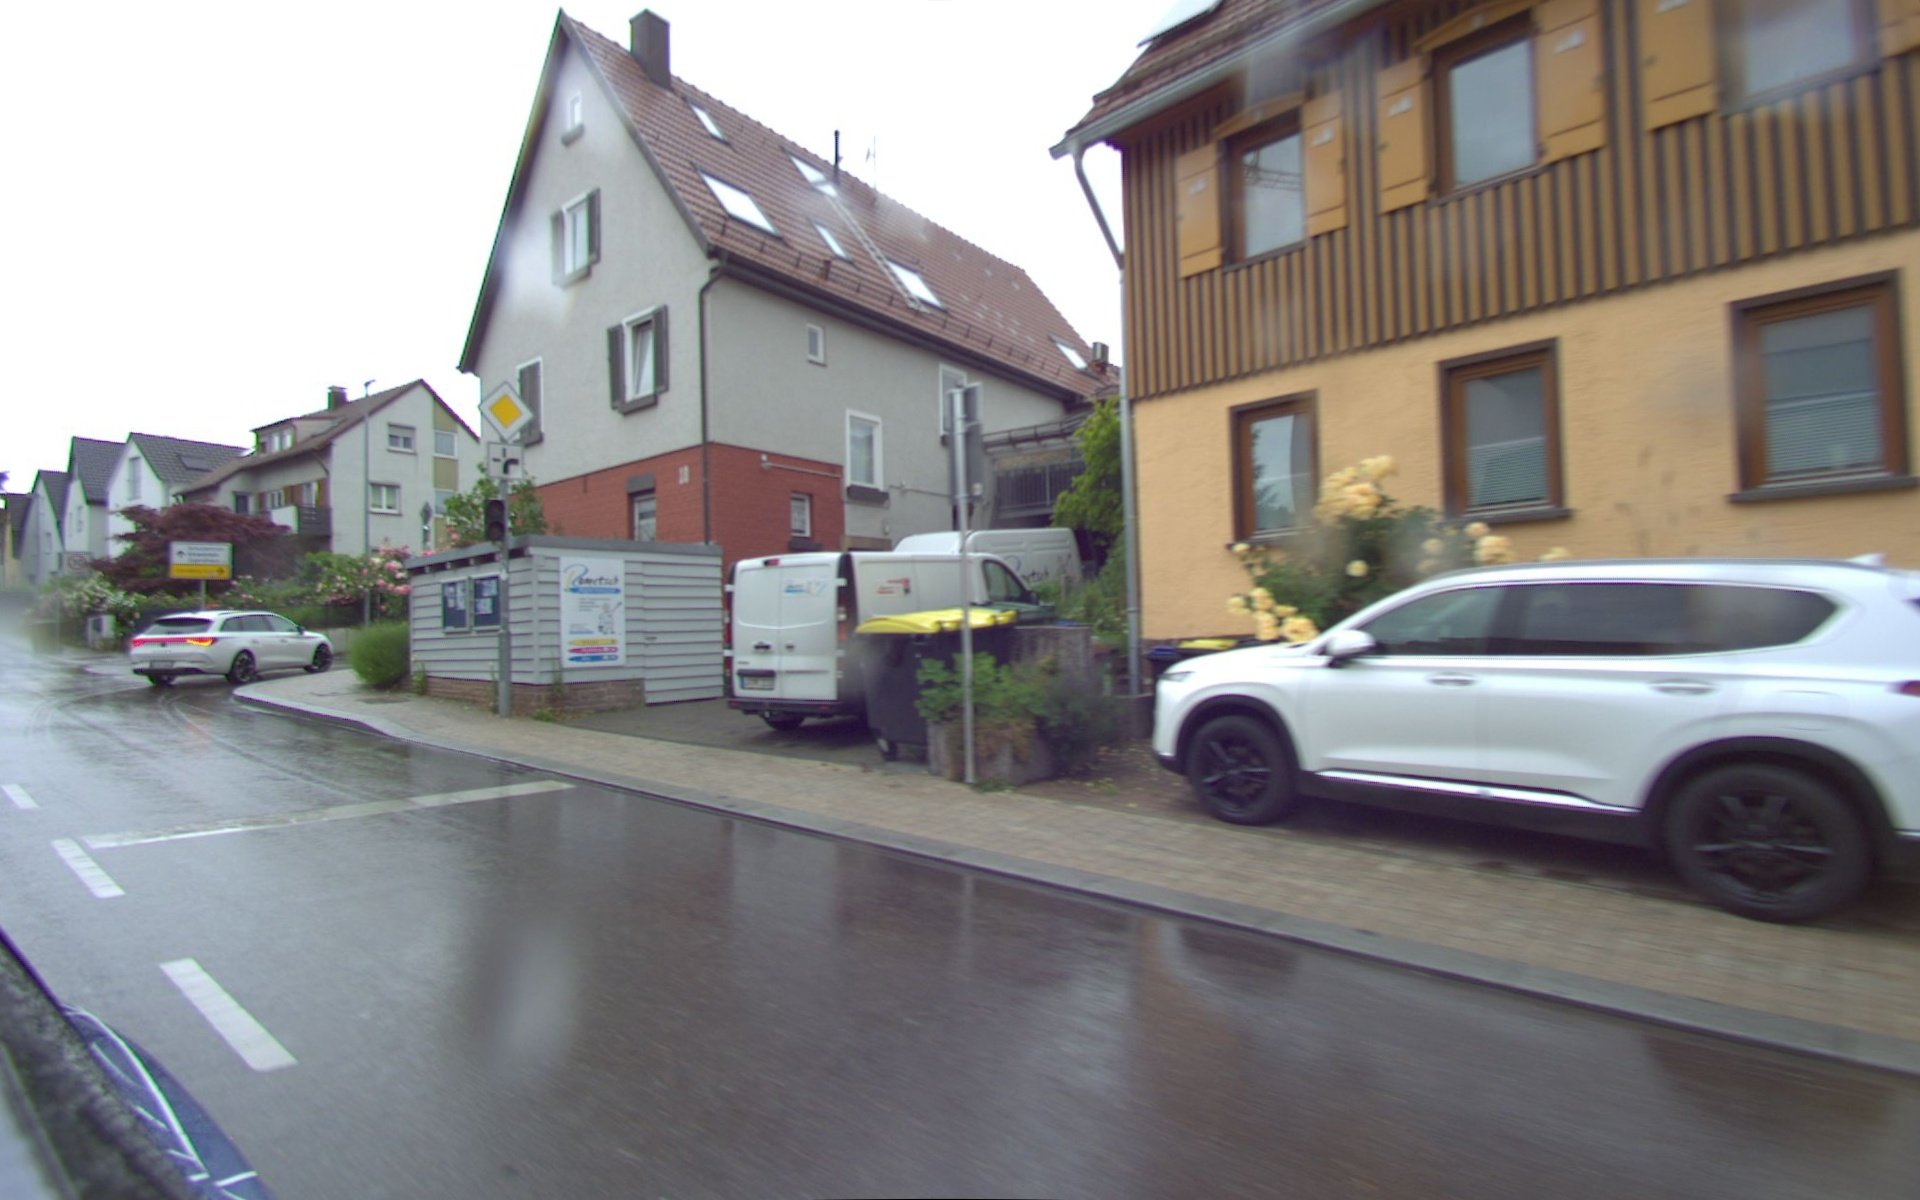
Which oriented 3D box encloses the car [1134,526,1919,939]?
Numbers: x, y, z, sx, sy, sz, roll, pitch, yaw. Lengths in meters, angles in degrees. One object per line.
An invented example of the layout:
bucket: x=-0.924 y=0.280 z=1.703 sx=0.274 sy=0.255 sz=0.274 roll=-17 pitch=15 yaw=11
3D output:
car: x=3.465 y=0.590 z=6.082 sx=1.792 sy=1.719 sz=4.621 roll=1 pitch=-2 yaw=-44

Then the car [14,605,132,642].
car: x=-42.750 y=1.102 z=48.860 sx=1.775 sy=1.719 sz=3.958 roll=-1 pitch=-1 yaw=30

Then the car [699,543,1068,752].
car: x=-0.681 y=0.399 z=12.131 sx=1.995 sy=1.993 sz=4.472 roll=-3 pitch=1 yaw=34

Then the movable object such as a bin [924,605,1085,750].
movable object such as a bin: x=0.489 y=0.759 z=10.648 sx=0.996 sy=1.378 sz=1.491 roll=-1 pitch=0 yaw=39

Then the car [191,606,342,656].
car: x=-23.928 y=1.063 z=35.047 sx=1.717 sy=1.611 sz=3.953 roll=0 pitch=-2 yaw=35

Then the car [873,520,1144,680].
car: x=1.126 y=-0.064 z=18.987 sx=2.066 sy=2.547 sz=5.789 roll=-1 pitch=1 yaw=38

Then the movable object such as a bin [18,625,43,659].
movable object such as a bin: x=-29.953 y=1.338 z=32.620 sx=0.414 sy=1.057 sz=0.515 roll=-1 pitch=2 yaw=43

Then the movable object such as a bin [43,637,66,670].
movable object such as a bin: x=-29.212 y=1.729 z=32.658 sx=0.414 sy=1.034 sz=0.514 roll=-1 pitch=0 yaw=43

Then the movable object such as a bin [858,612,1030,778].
movable object such as a bin: x=-0.134 y=0.812 z=9.277 sx=0.996 sy=1.378 sz=1.273 roll=-1 pitch=-2 yaw=39

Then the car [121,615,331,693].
car: x=-15.105 y=1.049 z=21.130 sx=1.568 sy=1.419 sz=4.213 roll=1 pitch=-1 yaw=-4
